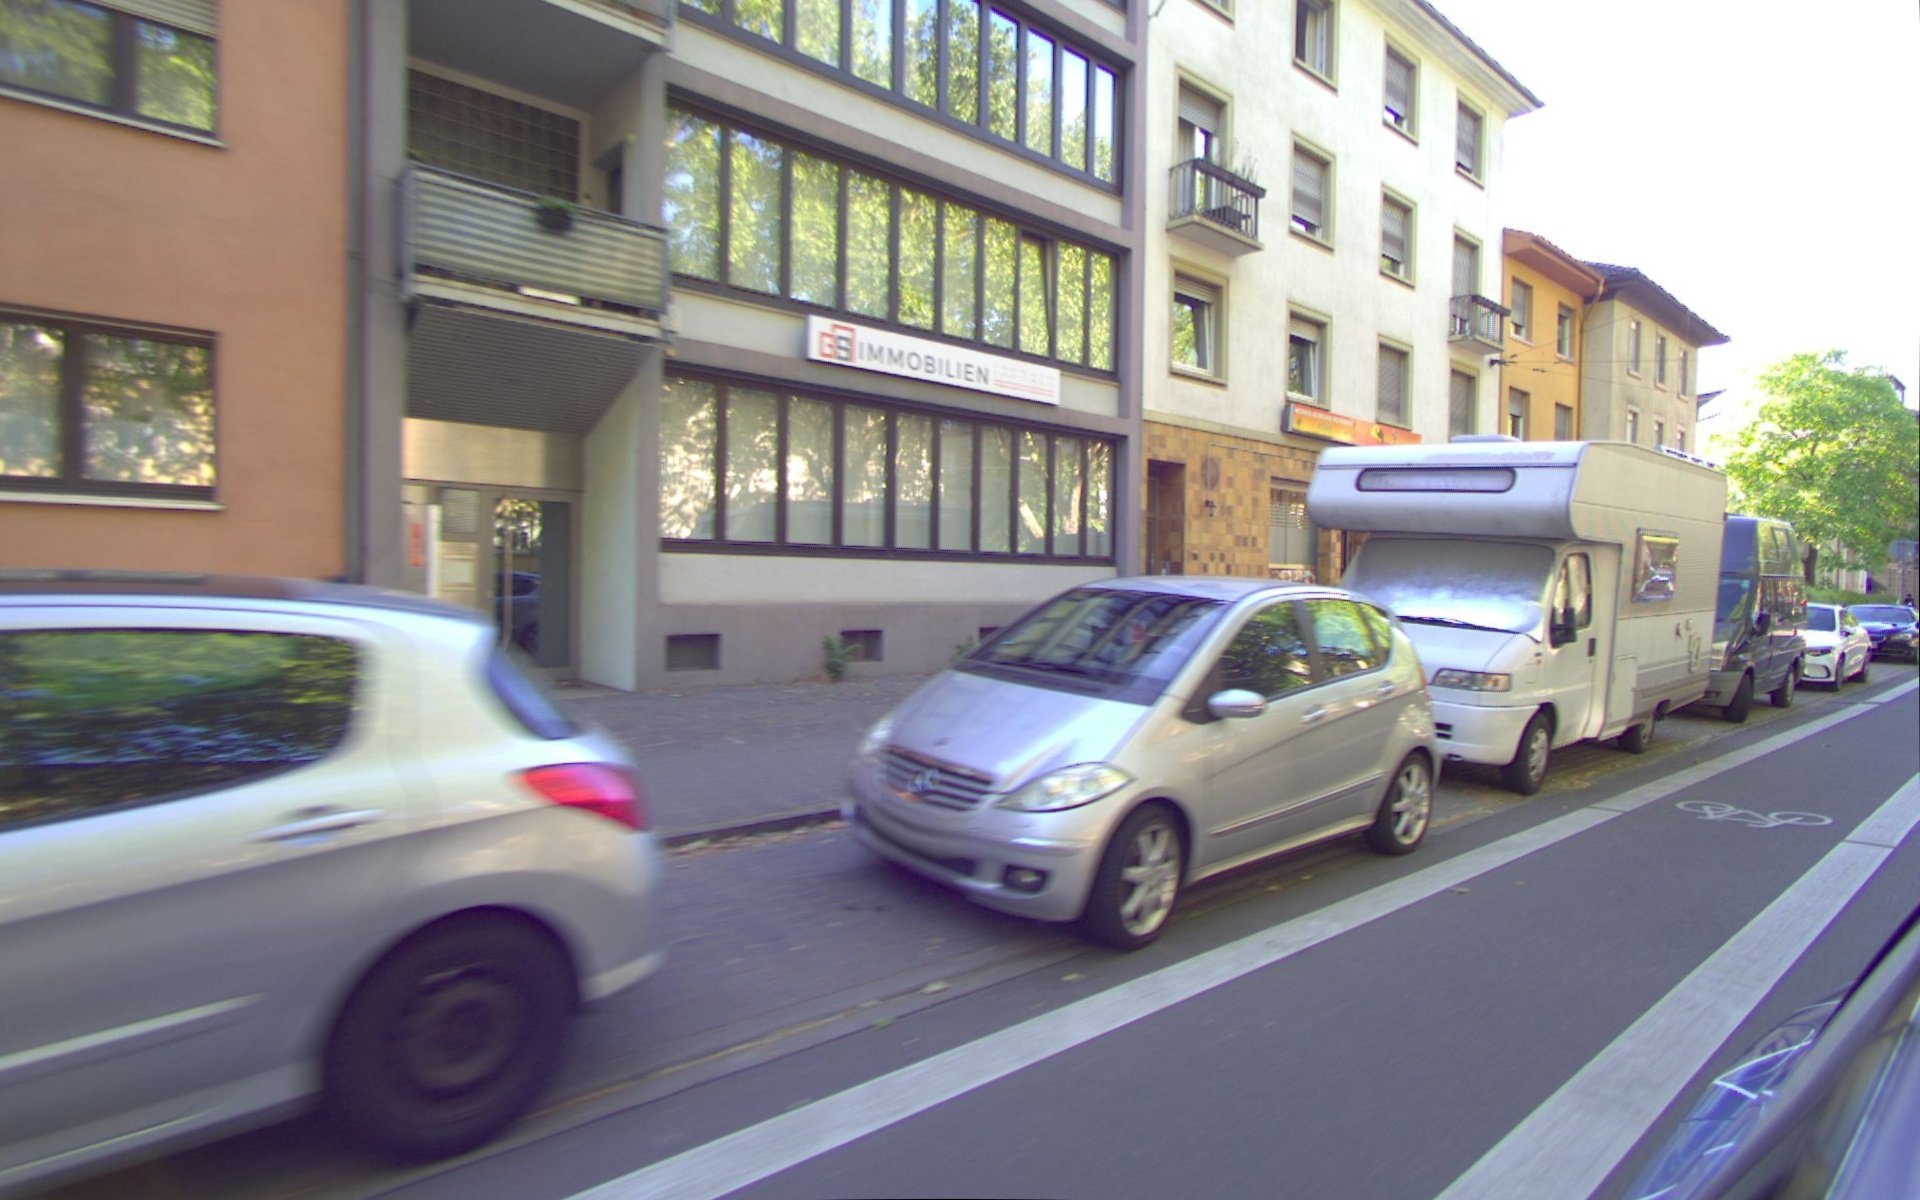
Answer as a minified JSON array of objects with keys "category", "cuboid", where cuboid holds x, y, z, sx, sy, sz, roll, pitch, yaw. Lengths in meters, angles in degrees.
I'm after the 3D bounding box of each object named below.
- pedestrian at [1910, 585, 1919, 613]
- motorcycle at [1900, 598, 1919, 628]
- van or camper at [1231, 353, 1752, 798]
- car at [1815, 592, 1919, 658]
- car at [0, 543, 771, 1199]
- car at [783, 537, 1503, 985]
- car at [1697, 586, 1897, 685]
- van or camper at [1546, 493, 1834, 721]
[{"category":"pedestrian","cuboid":[58.163,-0.045,61.291,0.869,1.699,0.813,0,0,-41]},{"category":"motorcycle","cuboid":[39.283,0.577,40.638,0.812,1.172,2.074,0,4,-36]},{"category":"van or camper","cuboid":[5.550,-0.250,10.040,6.160,3.101,2.467,0,3,-42]},{"category":"car","cuboid":[23.136,0.564,25.246,4.657,1.397,1.998,0,3,-41]},{"category":"car","cuboid":[-2.800,0.637,2.503,4.246,1.540,1.792,0,3,-41]},{"category":"car","cuboid":[1.290,0.554,5.826,4.201,1.648,1.797,0,3,-41]},{"category":"car","cuboid":[15.563,0.563,18.730,4.656,1.511,1.998,0,3,-40]},{"category":"van or camper","cuboid":[10.478,0.008,14.379,4.892,2.695,2.137,0,3,-41]}]
